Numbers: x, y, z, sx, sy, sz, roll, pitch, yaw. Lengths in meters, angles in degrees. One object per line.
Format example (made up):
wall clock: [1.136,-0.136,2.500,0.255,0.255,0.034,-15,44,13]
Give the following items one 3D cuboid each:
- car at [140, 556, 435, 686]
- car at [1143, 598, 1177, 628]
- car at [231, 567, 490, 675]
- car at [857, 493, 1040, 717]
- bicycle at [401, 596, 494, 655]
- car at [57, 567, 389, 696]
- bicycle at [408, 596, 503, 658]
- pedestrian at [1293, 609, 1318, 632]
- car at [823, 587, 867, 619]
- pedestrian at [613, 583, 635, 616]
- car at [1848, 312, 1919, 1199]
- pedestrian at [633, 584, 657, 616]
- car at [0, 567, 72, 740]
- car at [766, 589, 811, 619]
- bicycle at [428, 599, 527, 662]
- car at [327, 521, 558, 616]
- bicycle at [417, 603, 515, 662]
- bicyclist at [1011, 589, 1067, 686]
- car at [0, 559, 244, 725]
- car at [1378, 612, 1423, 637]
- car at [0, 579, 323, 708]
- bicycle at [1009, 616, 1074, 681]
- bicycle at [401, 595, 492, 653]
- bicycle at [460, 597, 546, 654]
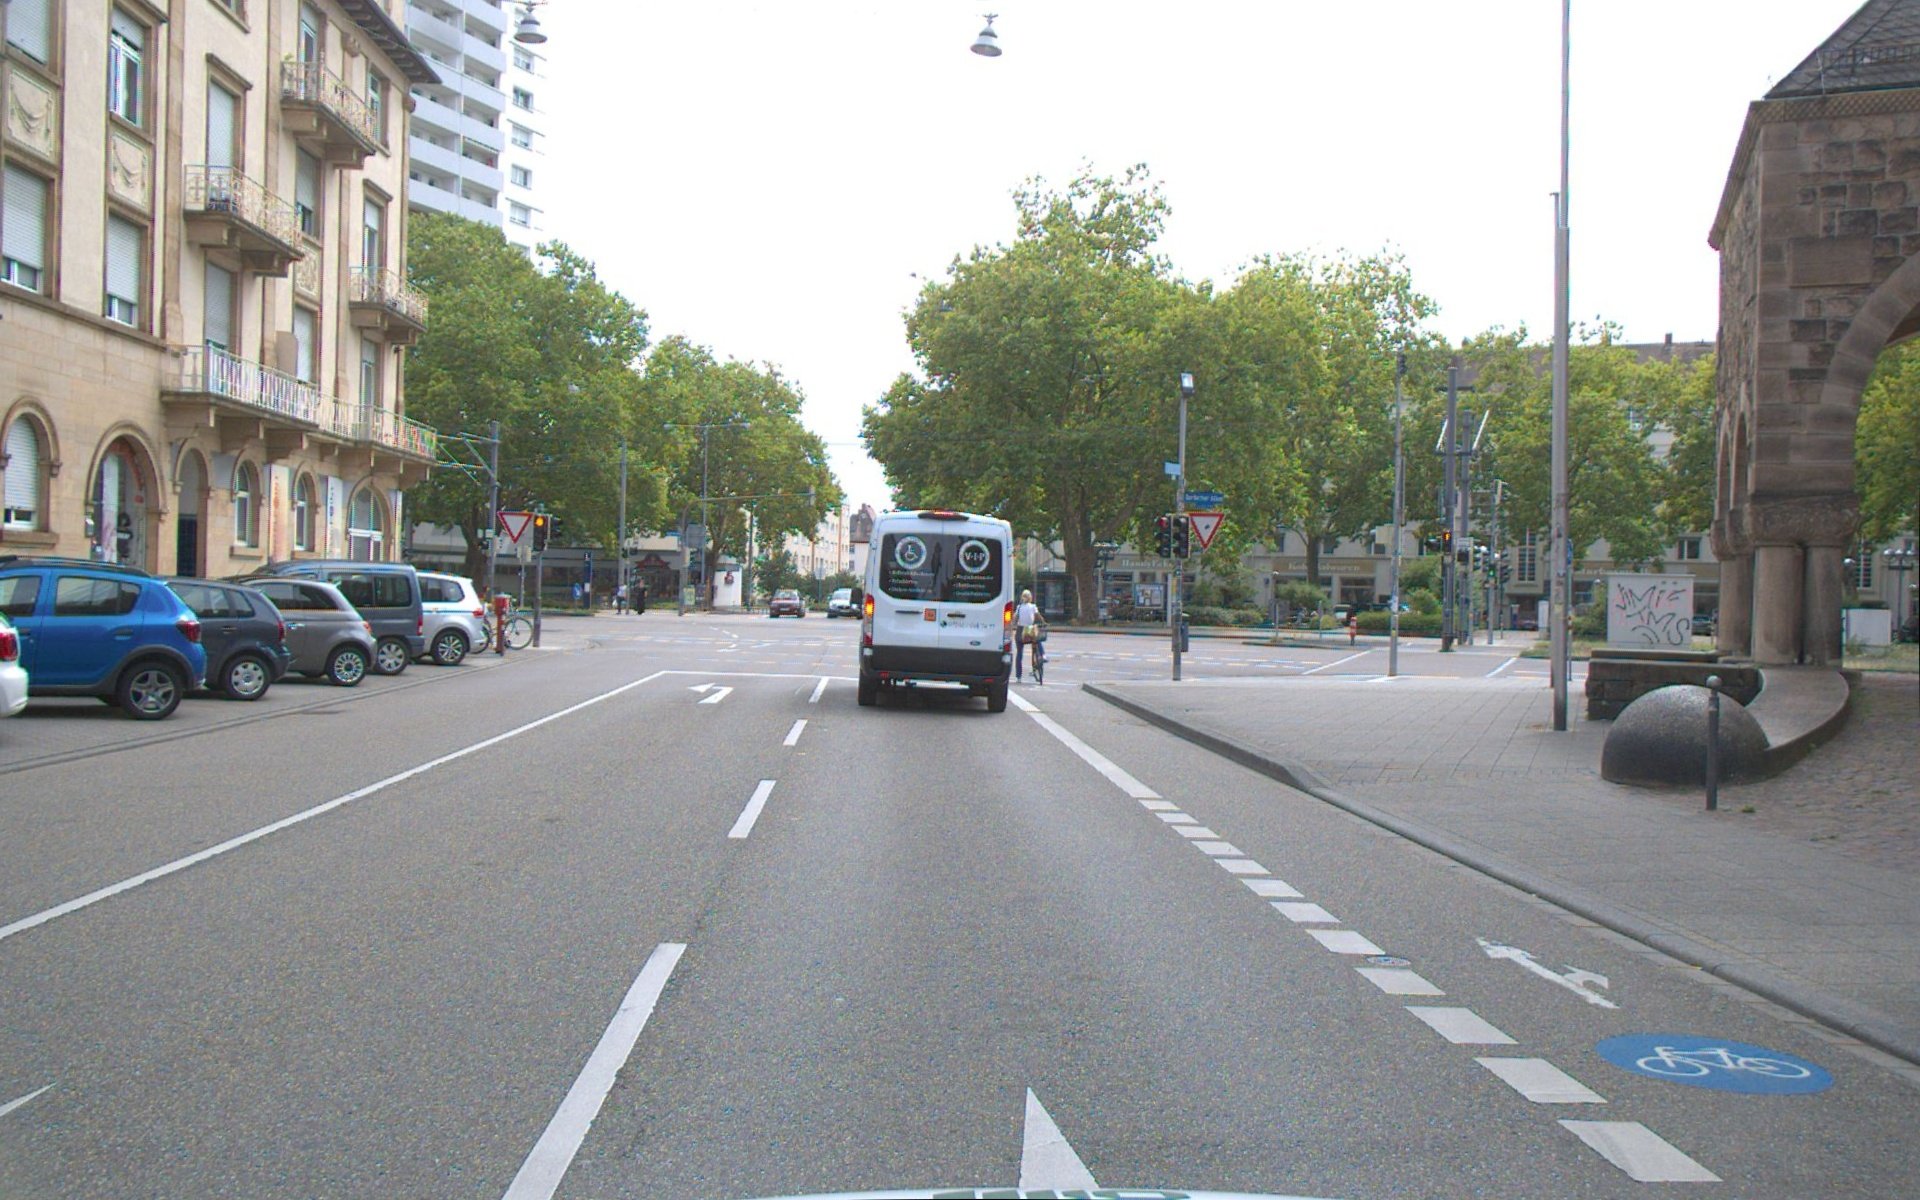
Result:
car: [-10.609,0.325,26.253,3.977,1.911,1.769,1,0,-42]
car: [13.583,0.858,112.551,1.952,1.964,4.001,1,0,2]
car: [-10.621,0.364,29.443,3.977,1.804,1.769,1,0,-42]
car: [-0.282,0.033,22.946,2.139,2.694,4.625,3,0,-4]
bicycle: [-10.892,0.543,35.206,1.777,1.140,0.593,3,-1,-11]
car: [-10.417,0.430,23.534,3.977,1.680,1.769,1,0,-42]
bicycle: [-10.543,0.563,34.611,1.777,1.186,0.593,3,-1,-11]
pedestrian: [18.513,1.100,88.619,1.068,1.257,1.441,-1,-1,2]
car: [-5.973,0.157,86.267,1.696,1.620,4.002,1,0,5]
pedestrian: [-16.187,-0.026,79.638,0.790,1.600,0.724,1,0,11]
car: [3.096,0.476,1.133,1.974,2.064,5.119,0,1,-4]
pedestrian: [-15.154,0.011,79.585,0.910,1.541,0.724,1,0,12]
car: [-9.882,0.436,14.292,3.649,1.507,1.718,1,0,-39]
car: [-8.977,0.212,86.890,1.587,1.502,4.002,1,0,5]
bicycle: [-9.890,0.616,33.905,1.772,1.139,0.594,5,0,1]
car: [-22.799,-1.396,72.818,9.683,3.984,3.455,1,0,22]
bicycle: [-9.912,0.651,33.232,1.771,1.140,0.594,1,0,4]
bicyclist: [1.428,0.672,30.014,0.886,1.713,0.756,1,0,-6]
car: [-9.871,0.422,17.683,3.741,1.680,1.700,1,0,-39]
car: [28.434,1.598,106.913,1.952,1.529,4.001,1,0,2]
car: [-10.180,0.513,20.575,3.864,1.469,1.812,1,0,-39]
bicycle: [1.452,0.862,29.826,0.885,1.094,1.968,1,0,-5]
bicycle: [-11.129,0.521,35.892,1.777,1.140,0.593,3,-1,-11]
bicycle: [-10.236,0.569,37.055,1.836,1.187,0.498,3,-1,18]
